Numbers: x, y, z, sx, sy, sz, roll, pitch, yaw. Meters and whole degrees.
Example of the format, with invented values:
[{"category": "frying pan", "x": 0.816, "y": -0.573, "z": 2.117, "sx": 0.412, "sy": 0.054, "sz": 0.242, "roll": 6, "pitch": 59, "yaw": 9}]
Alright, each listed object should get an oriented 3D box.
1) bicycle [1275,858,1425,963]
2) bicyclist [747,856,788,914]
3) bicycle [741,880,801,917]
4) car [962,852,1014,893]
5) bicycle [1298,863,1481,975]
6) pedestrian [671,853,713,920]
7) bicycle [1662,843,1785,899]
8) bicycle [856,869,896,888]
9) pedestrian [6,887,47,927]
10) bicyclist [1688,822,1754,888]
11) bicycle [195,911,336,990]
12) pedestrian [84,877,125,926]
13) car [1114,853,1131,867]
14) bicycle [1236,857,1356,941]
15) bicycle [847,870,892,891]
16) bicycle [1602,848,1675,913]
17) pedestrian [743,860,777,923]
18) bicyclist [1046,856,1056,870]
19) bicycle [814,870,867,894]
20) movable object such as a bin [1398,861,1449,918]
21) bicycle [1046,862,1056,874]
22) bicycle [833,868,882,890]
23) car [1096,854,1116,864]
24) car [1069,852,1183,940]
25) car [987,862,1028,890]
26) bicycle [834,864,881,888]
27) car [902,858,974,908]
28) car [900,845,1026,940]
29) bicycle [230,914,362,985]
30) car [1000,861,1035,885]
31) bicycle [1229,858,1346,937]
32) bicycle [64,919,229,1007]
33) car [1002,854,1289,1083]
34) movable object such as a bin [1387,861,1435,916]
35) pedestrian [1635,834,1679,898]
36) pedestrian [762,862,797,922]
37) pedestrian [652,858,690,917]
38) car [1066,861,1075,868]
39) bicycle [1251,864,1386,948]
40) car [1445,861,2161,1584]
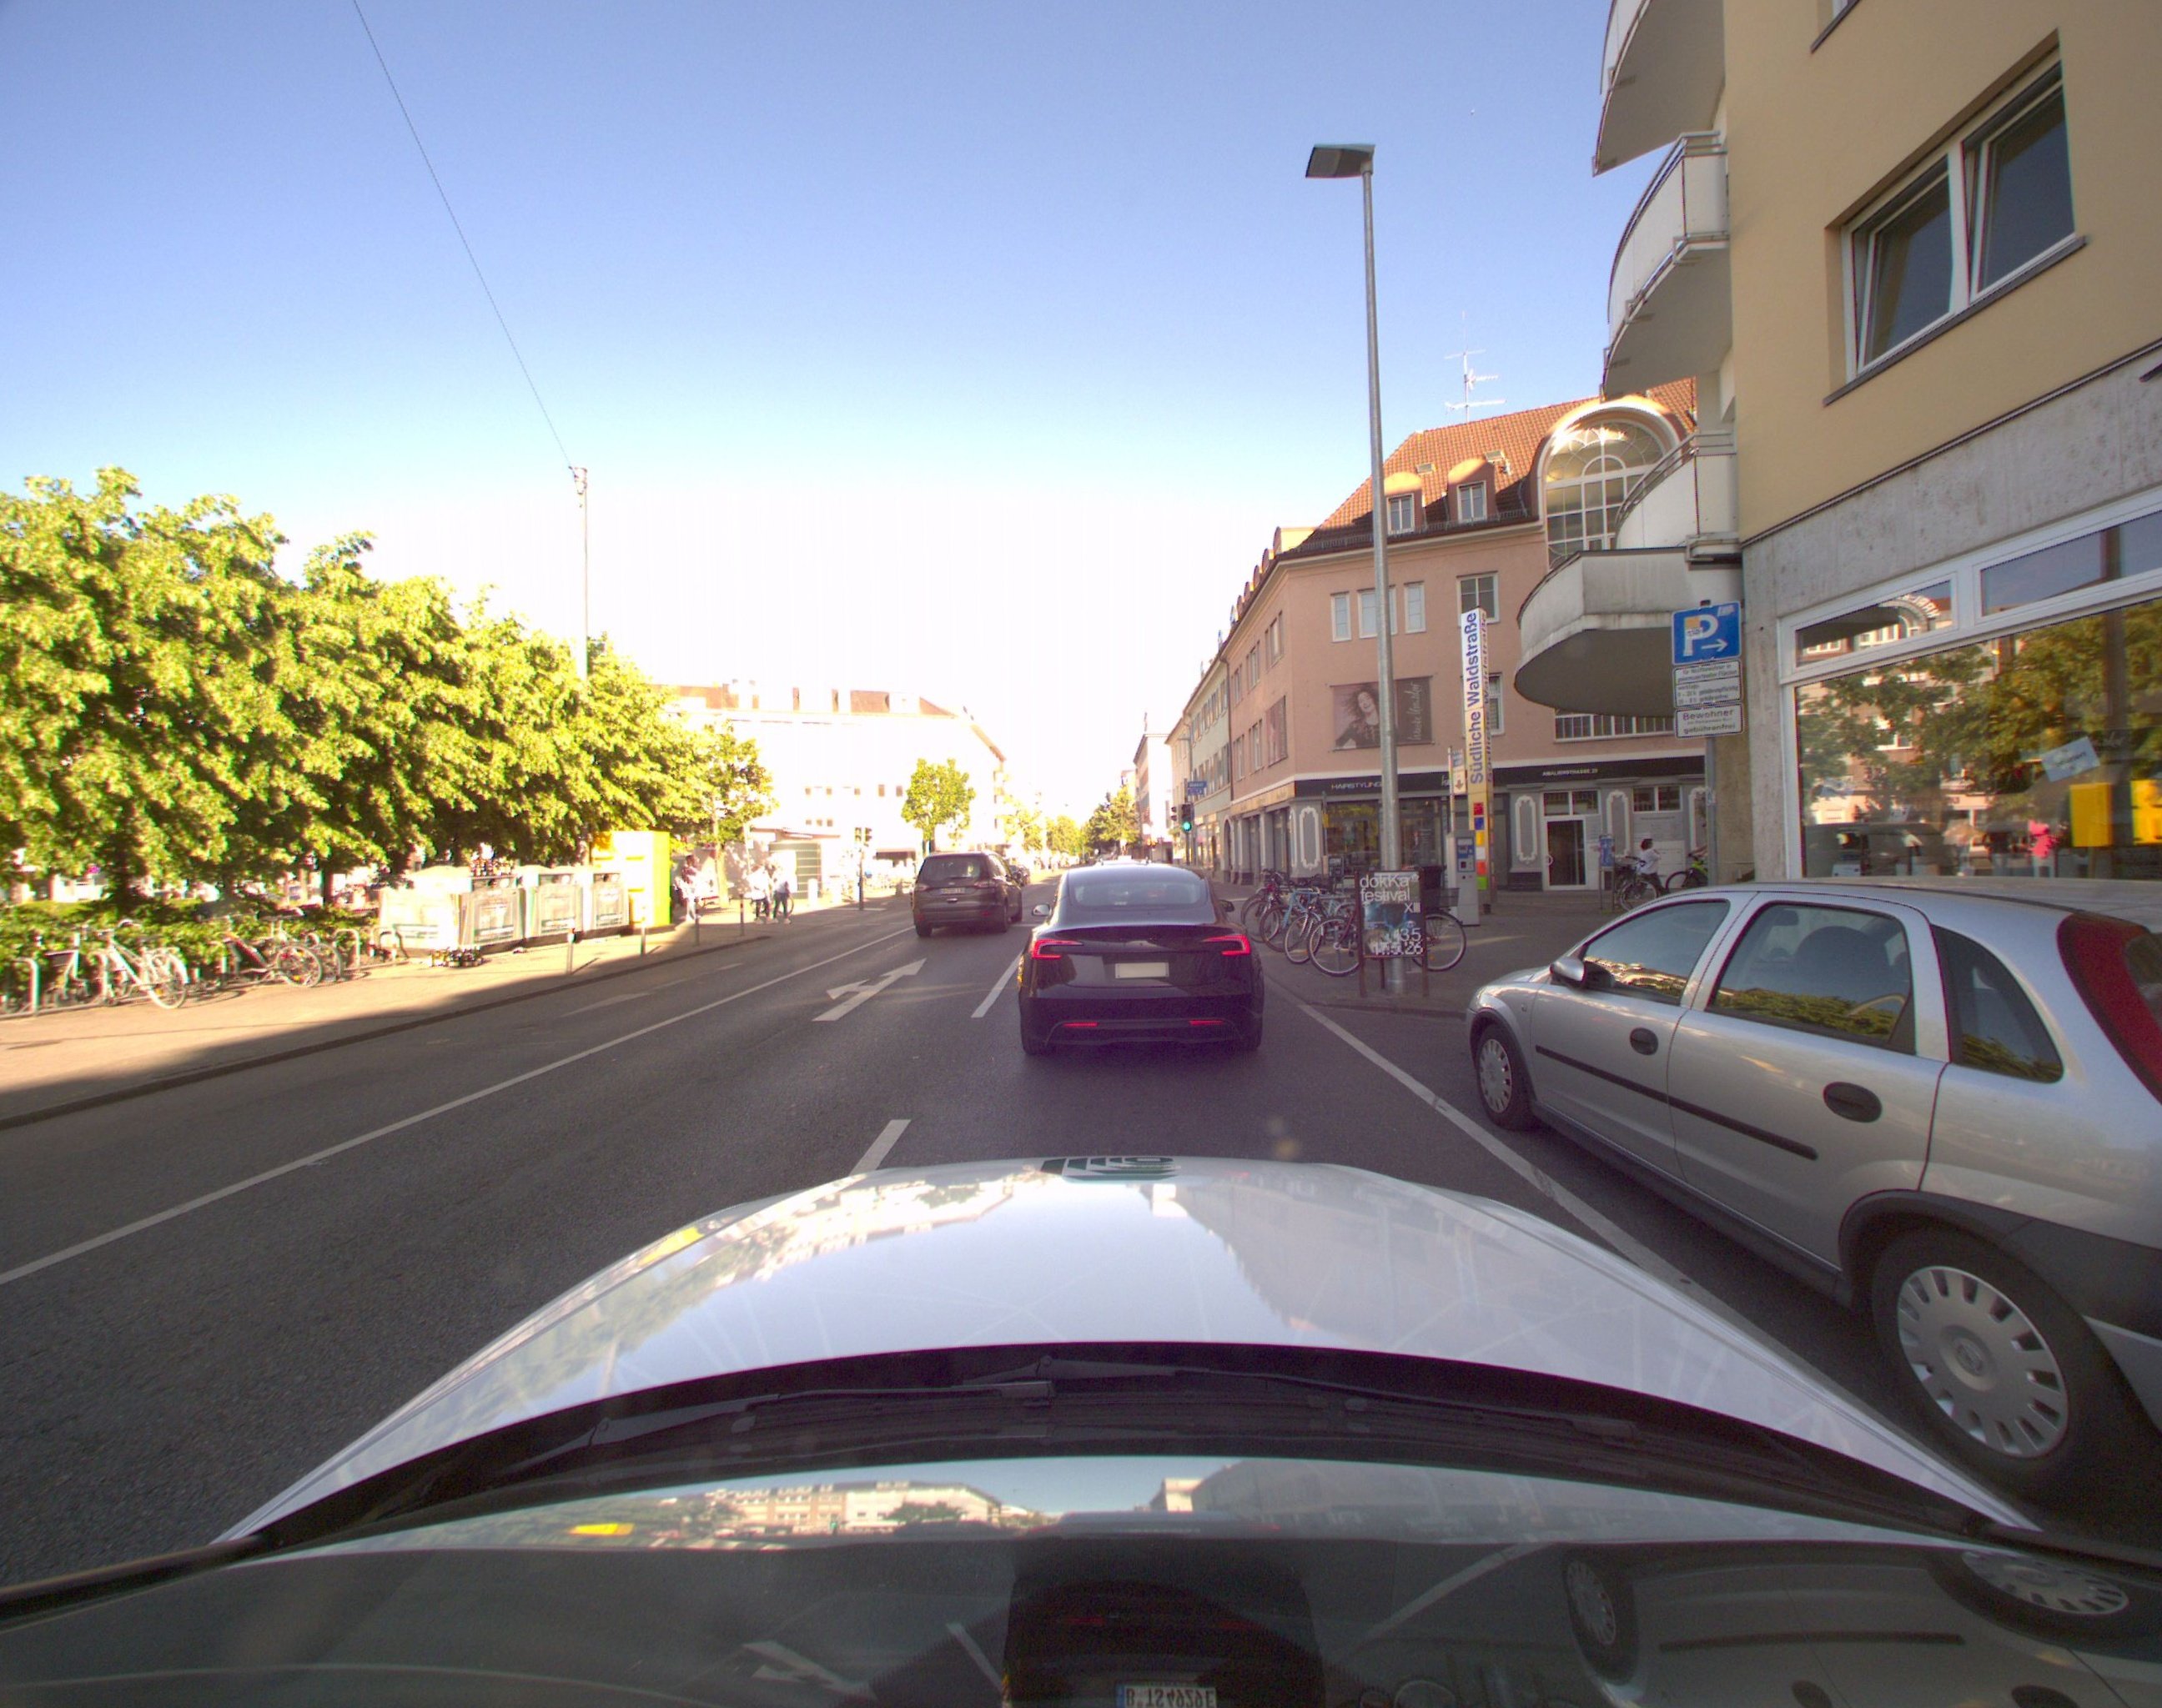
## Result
[{"category": "bicycle", "x": 3.524, "y": 0.732, "z": 10.818, "sx": 1.713, "sy": 1.268, "sz": 0.792, "roll": -3, "pitch": -1, "yaw": 7}, {"category": "bicyclist", "x": -10.176, "y": 0.981, "z": 26.445, "sx": 0.941, "sy": 1.838, "sz": 0.792, "roll": -1, "pitch": 0, "yaw": 24}, {"category": "bicycle", "x": -10.092, "y": 1.425, "z": 26.463, "sx": 2.042, "sy": 1.139, "sz": 0.541, "roll": 0, "pitch": 0, "yaw": 25}, {"category": "car", "x": -4.682, "y": 0.887, "z": 41.645, "sx": 1.827, "sy": 1.845, "sz": 4.676, "roll": -5, "pitch": 0, "yaw": 2}, {"category": "bicycle", "x": 3.620, "y": 0.757, "z": 9.683, "sx": 1.876, "sy": 1.193, "sz": 0.693, "roll": -3, "pitch": 0, "yaw": 7}, {"category": "pedestrian", "x": -11.414, "y": 0.938, "z": 23.913, "sx": 0.823, "sy": 1.955, "sz": 0.712, "roll": 0, "pitch": 0, "yaw": 13}, {"category": "bicycle", "x": 14.183, "y": 0.383, "z": 18.054, "sx": 1.951, "sy": 1.149, "sz": 0.795, "roll": -2, "pitch": -1, "yaw": 21}, {"category": "bicycle", "x": -13.184, "y": 1.560, "z": 52.354, "sx": 2.318, "sy": 1.156, "sz": 0.841, "roll": -1, "pitch": 0, "yaw": -4}, {"category": "pedestrian", "x": -54.175, "y": 2.715, "z": 41.844, "sx": 1.048, "sy": 2.013, "sz": 0.814, "roll": -1, "pitch": 0, "yaw": 0}, {"category": "bicyclist", "x": 14.166, "y": 0.030, "z": 18.051, "sx": 0.915, "sy": 1.414, "sz": 0.810, "roll": -2, "pitch": -1, "yaw": 20}, {"category": "bicycle", "x": -11.336, "y": 1.336, "z": 11.334, "sx": 1.561, "sy": 1.023, "sz": 0.430, "roll": -1, "pitch": 0, "yaw": 3}, {"category": "pedestrian", "x": -41.461, "y": 2.010, "z": 34.572, "sx": 1.169, "sy": 2.013, "sz": 0.937, "roll": -2, "pitch": 0, "yaw": 31}, {"category": "car", "x": 5.081, "y": 0.710, "z": 100.594, "sx": 1.986, "sy": 1.629, "sz": 4.002, "roll": -1, "pitch": 0, "yaw": 2}, {"category": "bicycle", "x": 3.489, "y": 0.720, "z": 13.351, "sx": 1.738, "sy": 1.267, "sz": 0.782, "roll": -3, "pitch": -1, "yaw": 4}, {"category": "bicycle", "x": -12.968, "y": 1.613, "z": 49.919, "sx": 2.528, "sy": 1.156, "sz": 0.841, "roll": -1, "pitch": 0, "yaw": -4}, {"category": "bicycle", "x": 11.033, "y": 0.491, "z": 16.199, "sx": 0.653, "sy": 1.199, "sz": 2.223, "roll": -2, "pitch": -1, "yaw": 21}, {"category": "pedestrian", "x": -8.982, "y": 1.039, "z": 22.786, "sx": 0.541, "sy": 1.728, "sz": 0.679, "roll": -2, "pitch": -1, "yaw": 34}, {"category": "bicyclist", "x": -3.523, "y": 1.018, "z": 95.549, "sx": 1.123, "sy": 1.628, "sz": 0.965, "roll": -1, "pitch": 0, "yaw": -1}, {"category": "bicycle", "x": -12.600, "y": 1.472, "z": 42.684, "sx": 2.497, "sy": 1.156, "sz": 0.843, "roll": -1, "pitch": 0, "yaw": 0}, {"category": "movable object such as a bin", "x": 6.726, "y": 0.684, "z": 16.008, "sx": 0.749, "sy": 1.092, "sz": 0.628, "roll": 0, "pitch": -1, "yaw": 3}, {"category": "bicycle", "x": -3.497, "y": 1.633, "z": 95.452, "sx": 1.108, "sy": 1.344, "sz": 3.998, "roll": -1, "pitch": 0, "yaw": -1}, {"category": "bicycle", "x": -12.394, "y": 1.403, "z": 45.214, "sx": 2.453, "sy": 1.156, "sz": 0.843, "roll": -1, "pitch": 0, "yaw": 0}, {"category": "car", "x": 5.101, "y": 1.016, "z": 167.338, "sx": 3.974, "sy": 2.013, "sz": 2.000, "roll": -1, "pitch": 0, "yaw": 0}, {"category": "car", "x": 0.811, "y": 0.742, "z": 16.461, "sx": 1.987, "sy": 1.512, "sz": 4.175, "roll": -1, "pitch": 0, "yaw": 0}, {"category": "car", "x": -4.381, "y": 1.276, "z": 49.345, "sx": 1.988, "sy": 1.410, "sz": 4.672, "roll": -5, "pitch": 0, "yaw": -1}, {"category": "bicycle", "x": -12.924, "y": 1.284, "z": 47.161, "sx": 2.472, "sy": 1.324, "sz": 0.921, "roll": -1, "pitch": 0, "yaw": -4}, {"category": "car", "x": -5.208, "y": 1.025, "z": 30.192, "sx": 1.802, "sy": 1.555, "sz": 4.308, "roll": -5, "pitch": 0, "yaw": -1}, {"category": "car", "x": -2.439, "y": 0.751, "z": 18.086, "sx": 1.987, "sy": 1.772, "sz": 4.728, "roll": -2, "pitch": 0, "yaw": 1}, {"category": "bicycle", "x": -11.395, "y": 1.384, "z": 11.840, "sx": 1.517, "sy": 0.958, "sz": 0.431, "roll": -1, "pitch": 1, "yaw": 3}, {"category": "car", "x": -4.411, "y": 1.309, "z": 56.942, "sx": 1.988, "sy": 1.436, "sz": 4.672, "roll": -5, "pitch": 0, "yaw": -1}, {"category": "bicycle", "x": 3.604, "y": 0.749, "z": 14.379, "sx": 1.851, "sy": 1.258, "sz": 0.834, "roll": -3, "pitch": -1, "yaw": 7}, {"category": "bicycle", "x": -11.472, "y": 1.330, "z": 10.015, "sx": 1.590, "sy": 1.018, "sz": 0.430, "roll": -1, "pitch": 0, "yaw": 3}, {"category": "car", "x": 0.484, "y": 0.769, "z": 7.347, "sx": 1.841, "sy": 1.455, "sz": 4.001, "roll": -1, "pitch": -1, "yaw": 2}, {"category": "movable object such as a bin", "x": 6.734, "y": 0.690, "z": 16.646, "sx": 0.730, "sy": 1.092, "sz": 0.628, "roll": 0, "pitch": -1, "yaw": 3}, {"category": "pedestrian", "x": 14.326, "y": 0.296, "z": 20.270, "sx": 0.740, "sy": 1.552, "sz": 0.703, "roll": -1, "pitch": -1, "yaw": 23}, {"category": "pedestrian", "x": -8.626, "y": 1.085, "z": 23.329, "sx": 0.676, "sy": 1.662, "sz": 0.624, "roll": -2, "pitch": -1, "yaw": 28}, {"category": "pedestrian", "x": -13.042, "y": 1.059, "z": 25.923, "sx": 0.835, "sy": 1.827, "sz": 0.747, "roll": -2, "pitch": -1, "yaw": 35}, {"category": "car", "x": -2.506, "y": 2.347, "z": 187.032, "sx": 1.988, "sy": 1.637, "sz": 3.998, "roll": -1, "pitch": 0, "yaw": -1}, {"category": "bicycle", "x": 3.504, "y": 0.761, "z": 12.171, "sx": 1.788, "sy": 1.124, "sz": 0.783, "roll": -3, "pitch": -1, "yaw": 7}, {"category": "car", "x": 2.974, "y": 0.730, "z": 3.188, "sx": 1.607, "sy": 1.382, "sz": 3.645, "roll": 0, "pitch": 0, "yaw": 2}]
